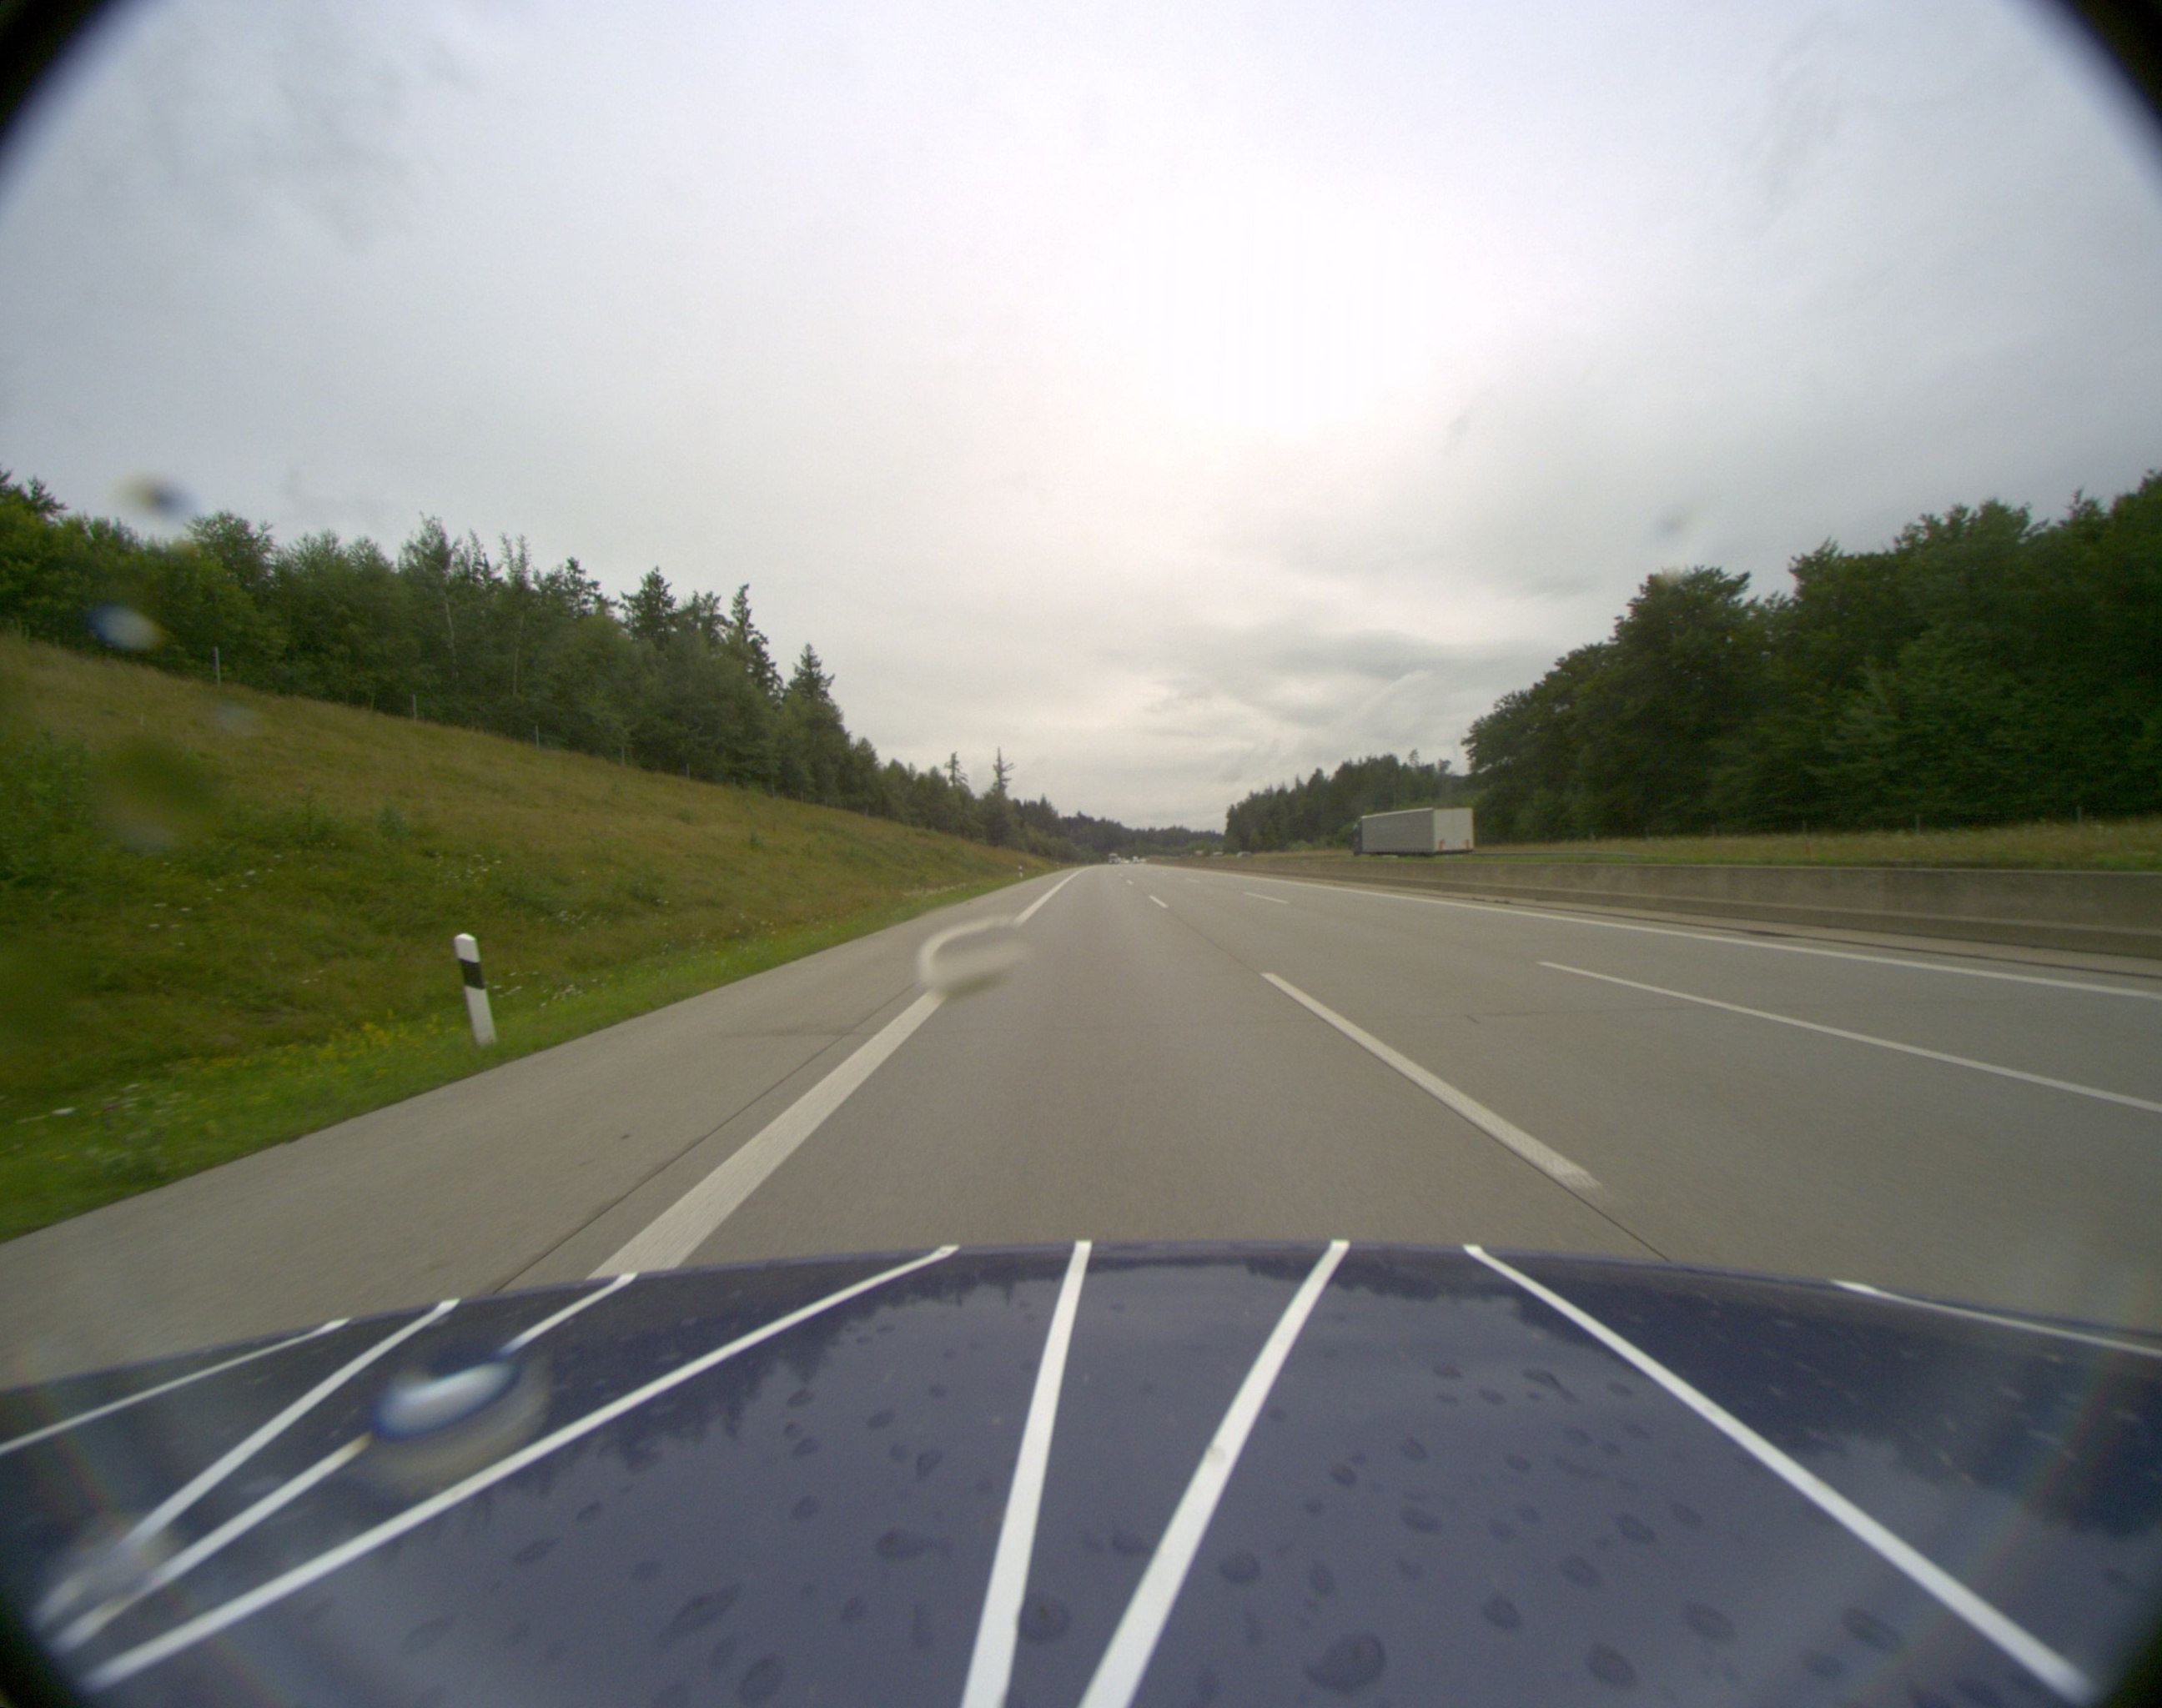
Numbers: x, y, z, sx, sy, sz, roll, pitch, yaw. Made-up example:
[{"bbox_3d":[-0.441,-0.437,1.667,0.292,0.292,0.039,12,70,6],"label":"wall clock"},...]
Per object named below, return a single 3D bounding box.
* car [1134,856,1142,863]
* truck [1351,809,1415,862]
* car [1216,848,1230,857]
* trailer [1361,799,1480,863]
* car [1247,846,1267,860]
[{"bbox_3d":[18.088,1.737,239.559,2.213,2.001,4.836,-3,-1,2],"label":"car"},{"bbox_3d":[24.732,-1.464,62.489,2.810,4.004,6.084,-2,0,2],"label":"truck"},{"bbox_3d":[27.900,-0.296,149.447,1.998,1.620,4.153,-2,0,2],"label":"car"},{"bbox_3d":[24.612,-1.485,56.352,2.817,3.996,13.989,-2,0,2],"label":"trailer"},{"bbox_3d":[21.148,-0.152,91.432,1.692,1.623,3.594,-2,1,1],"label":"car"}]
